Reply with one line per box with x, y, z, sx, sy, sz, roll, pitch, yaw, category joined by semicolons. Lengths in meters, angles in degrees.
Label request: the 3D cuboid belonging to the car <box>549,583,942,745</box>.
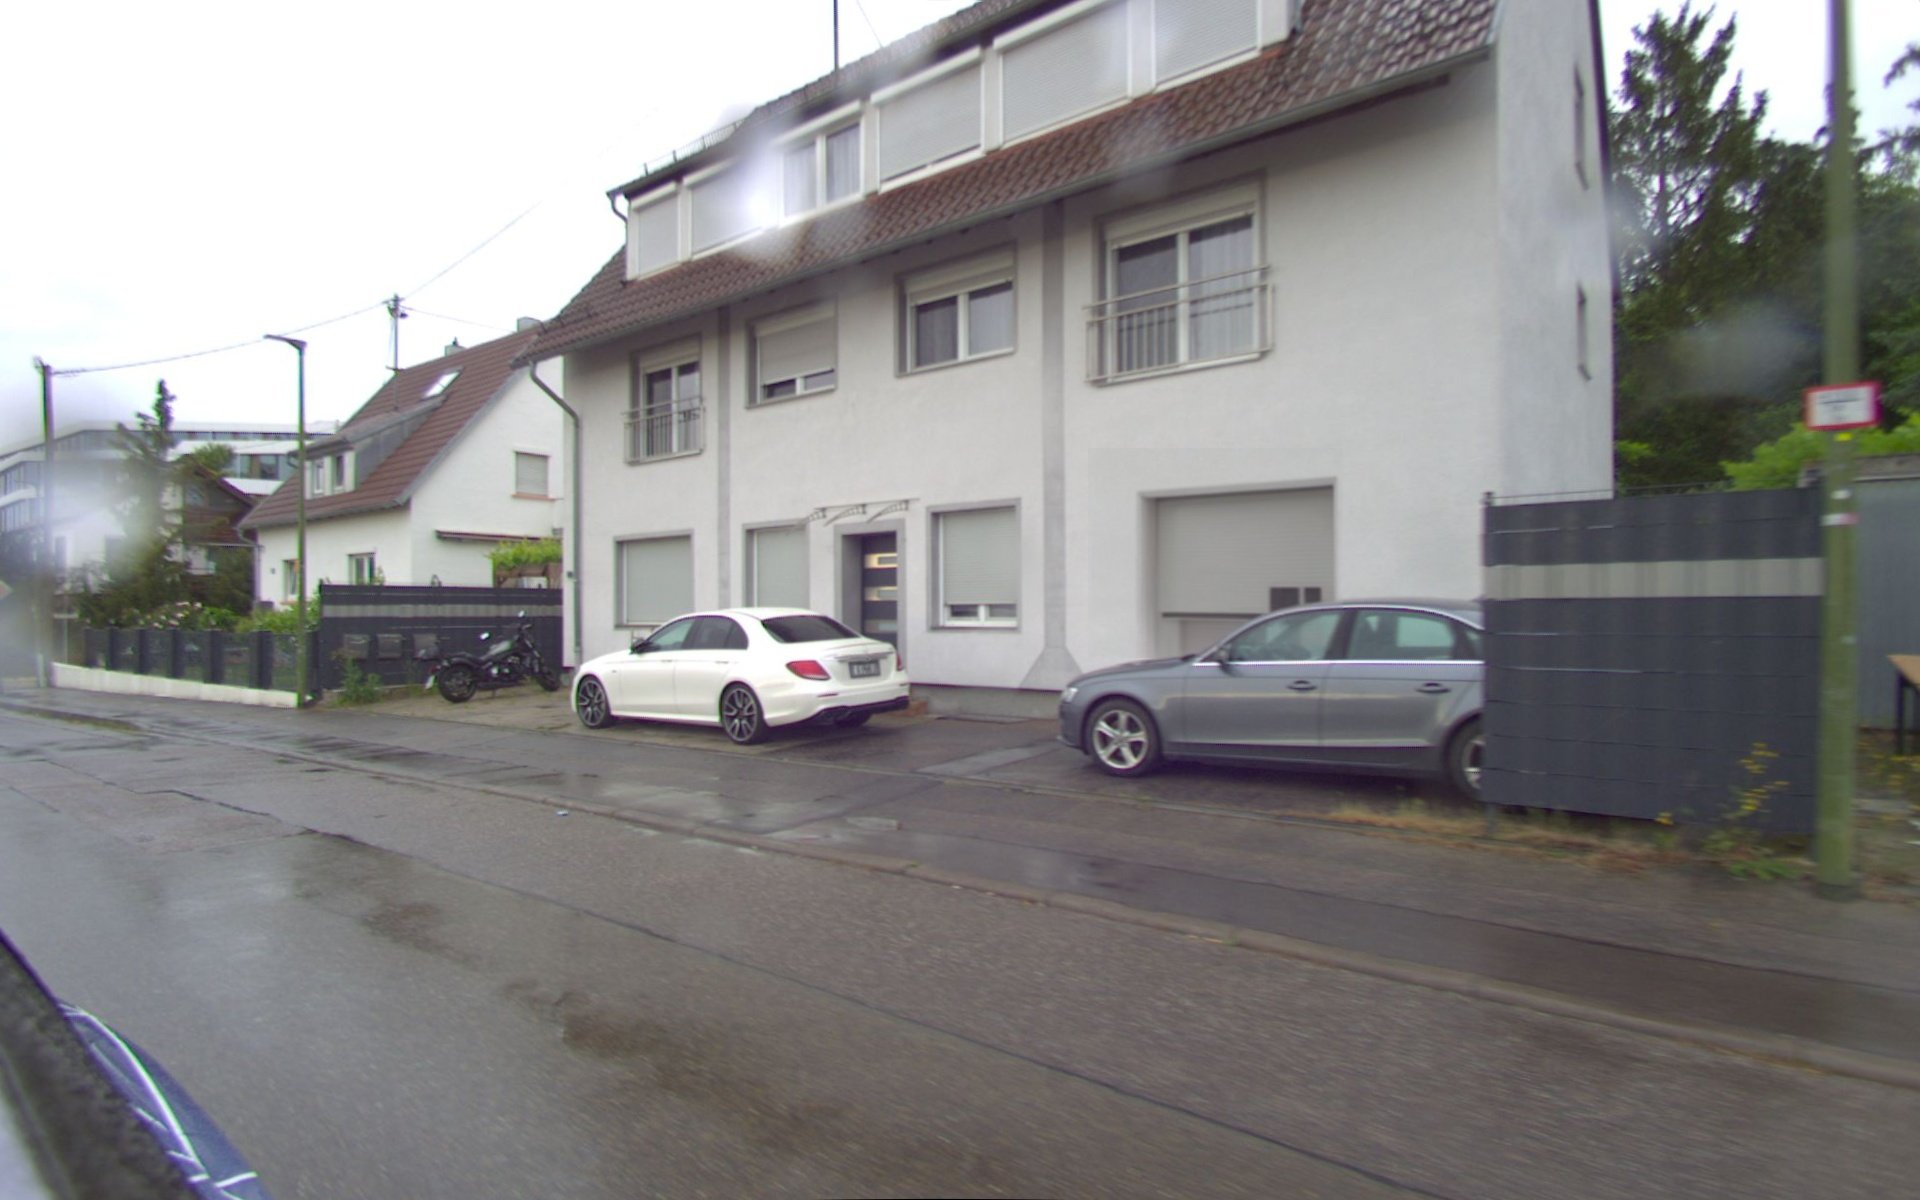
-2.750;0.682;12.313;4.889;1.521;1.975;-2;2;39;car

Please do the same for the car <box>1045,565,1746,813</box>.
3.111;0.551;7.848;4.559;1.378;1.811;-2;2;35;car

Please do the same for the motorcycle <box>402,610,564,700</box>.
-8.013;0.889;17.118;0.735;1.283;2.340;-2;1;39;motorcycle
